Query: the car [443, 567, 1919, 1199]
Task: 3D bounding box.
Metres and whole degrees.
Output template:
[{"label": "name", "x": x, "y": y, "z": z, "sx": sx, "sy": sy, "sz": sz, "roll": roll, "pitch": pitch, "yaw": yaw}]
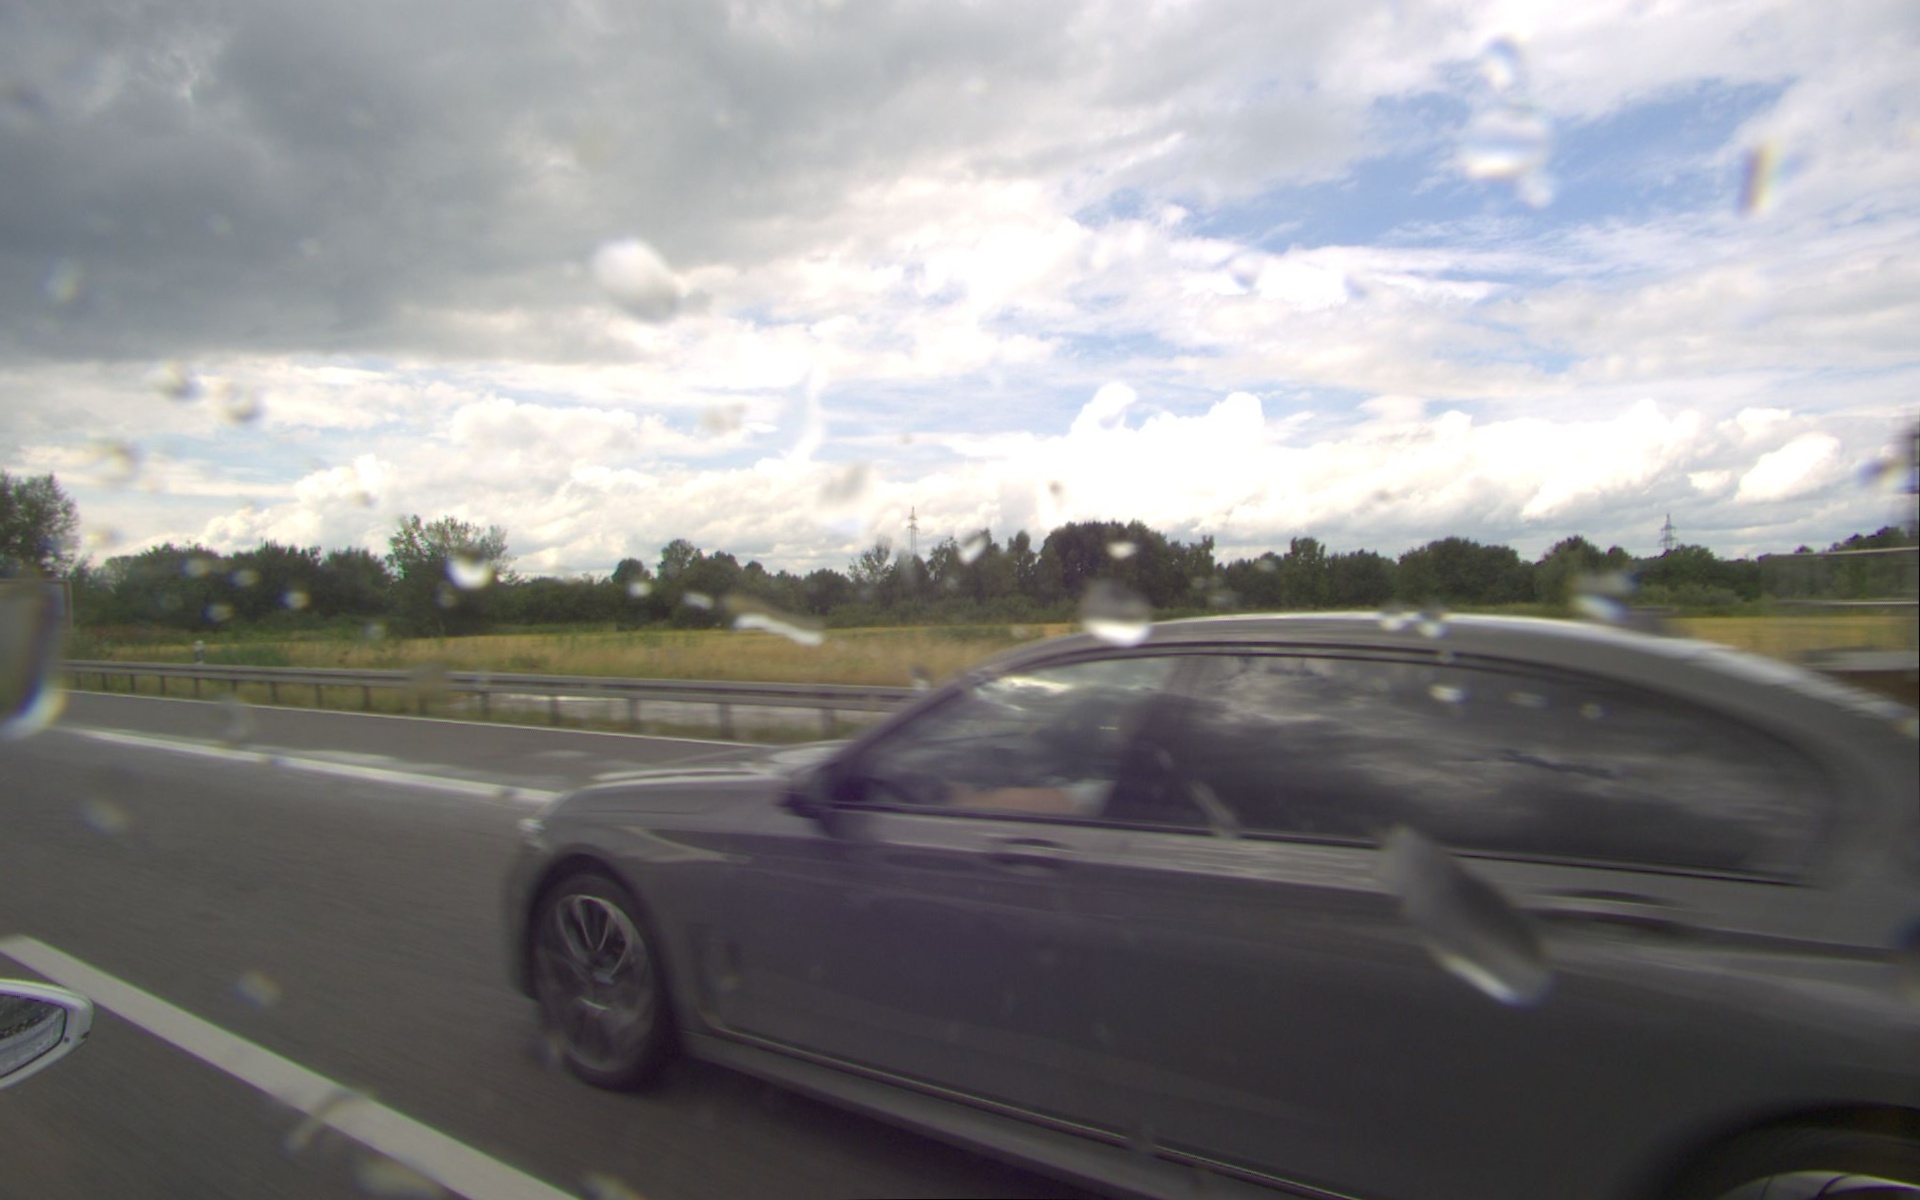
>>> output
[{"label": "car", "x": 0.752, "y": 0.747, "z": 2.933, "sx": 4.707, "sy": 1.510, "sz": 1.936, "roll": -1, "pitch": -1, "yaw": 32}]
